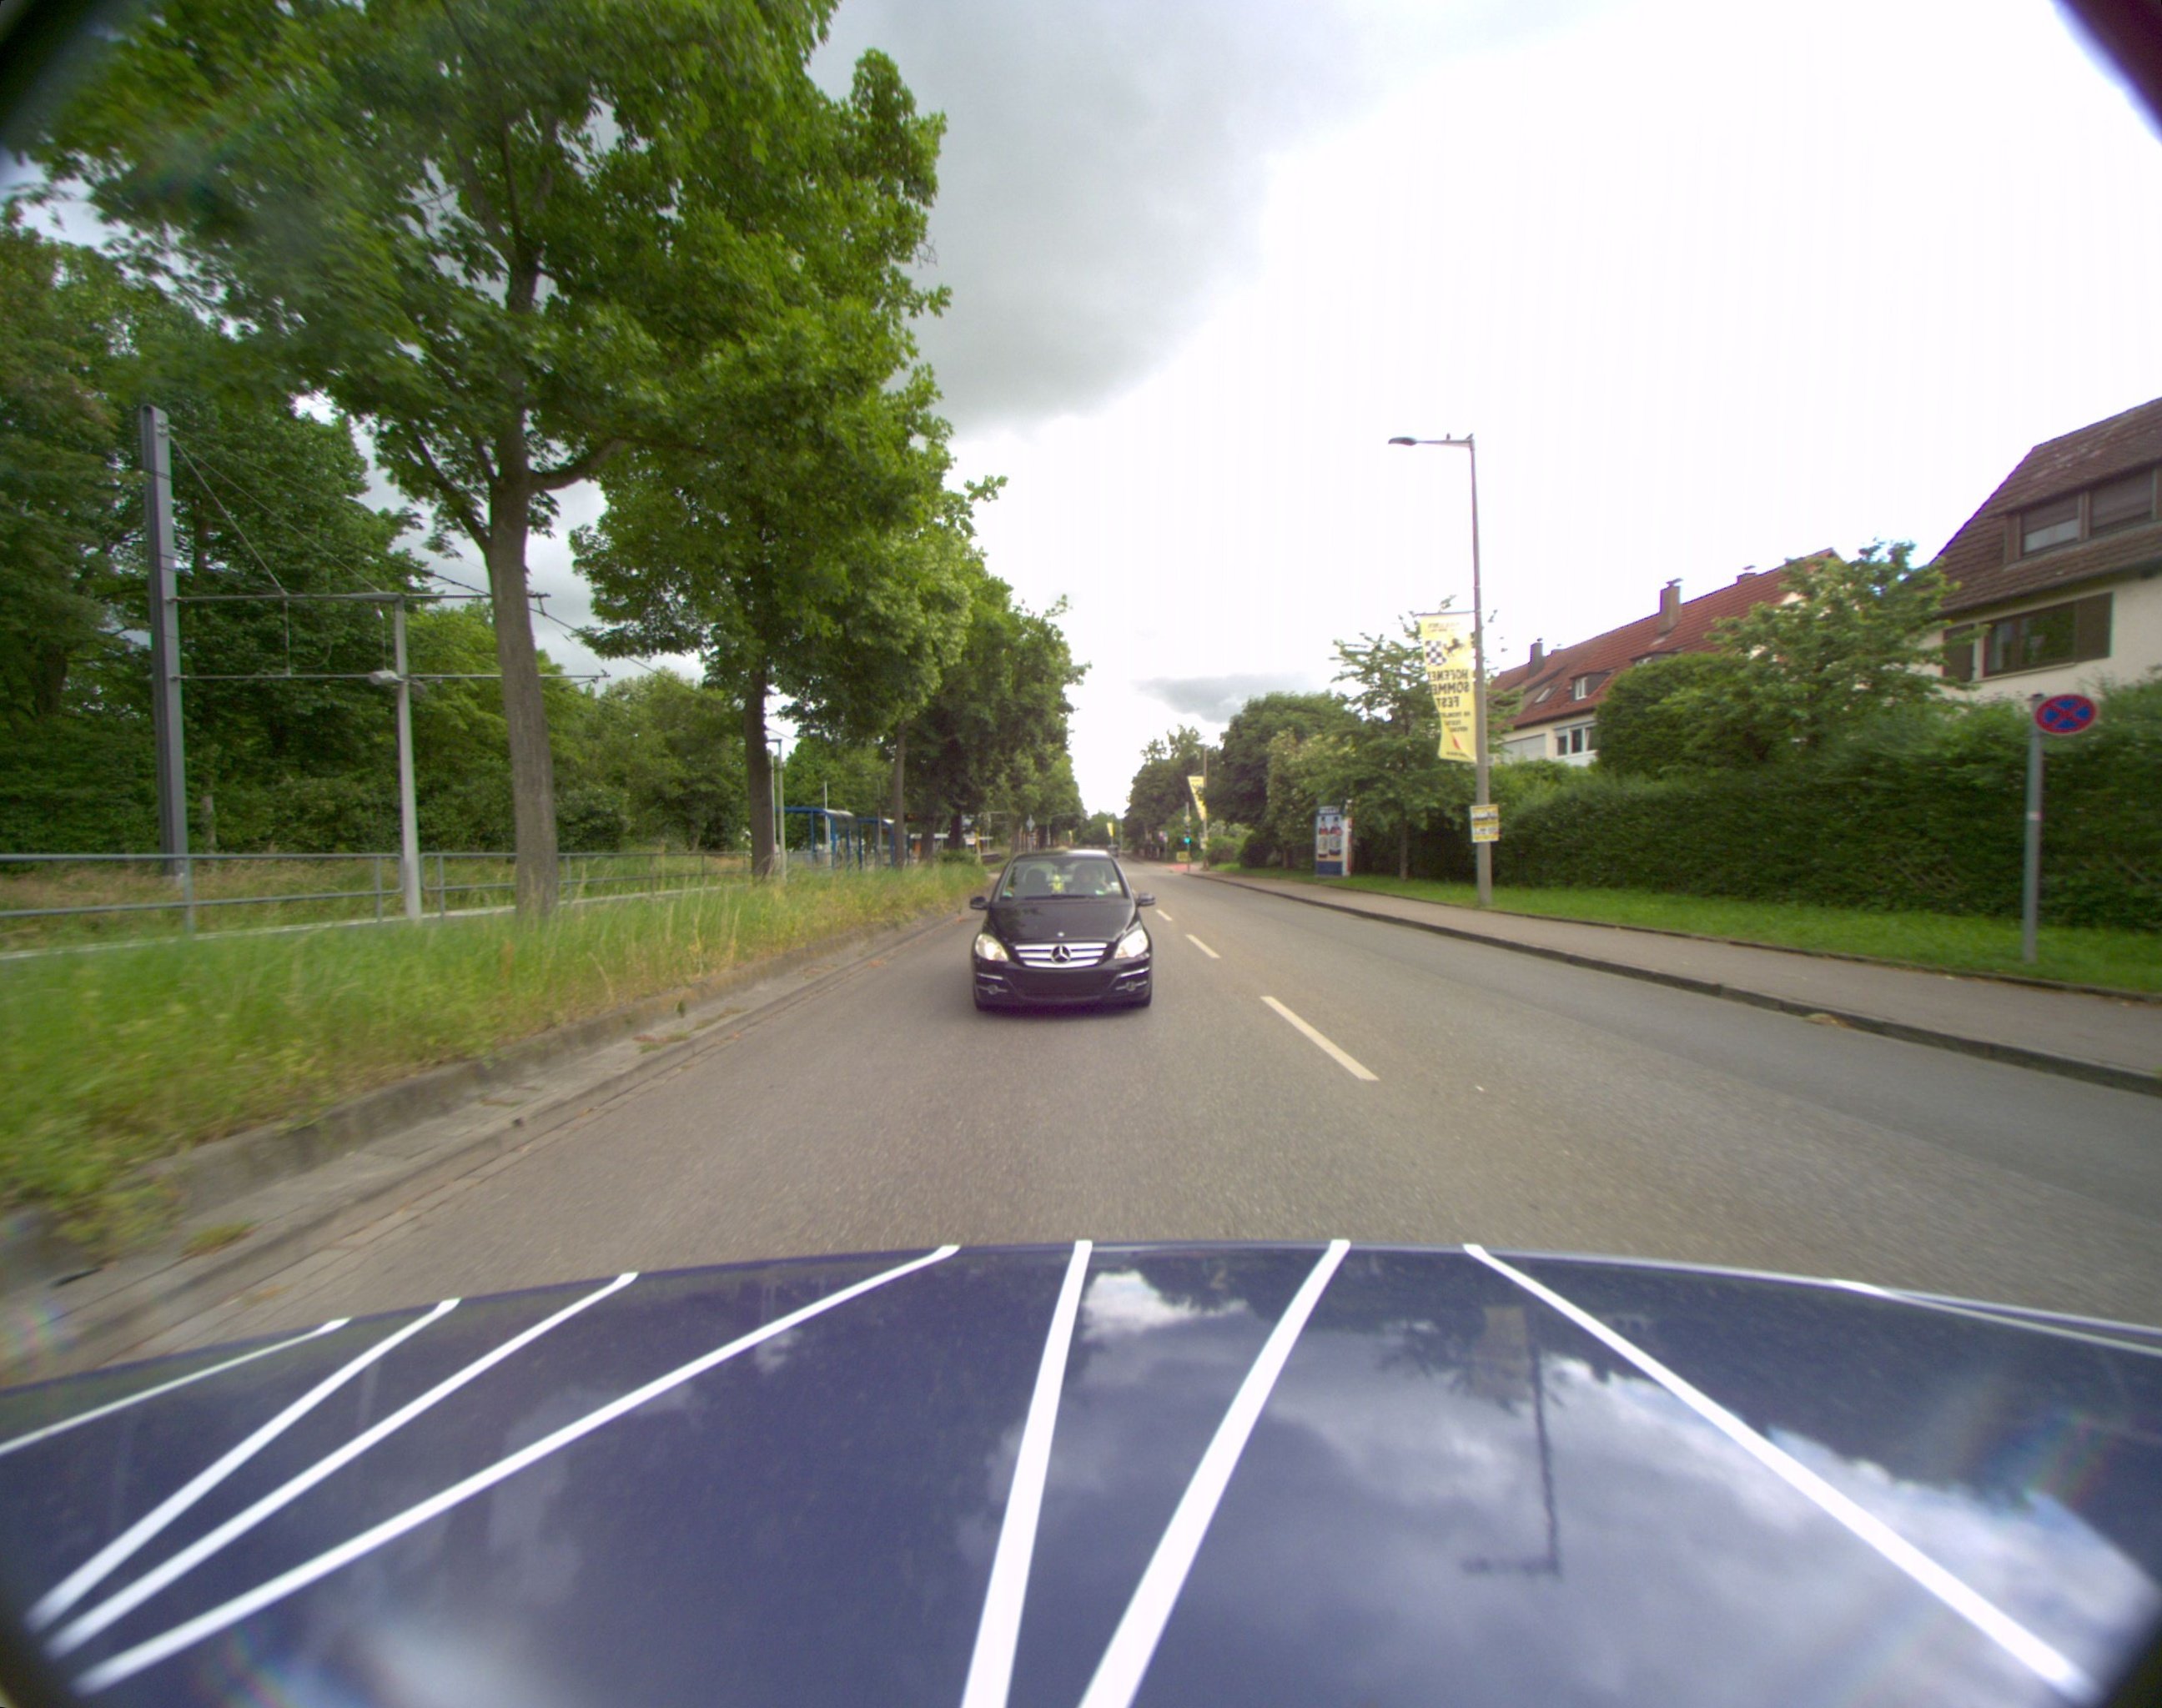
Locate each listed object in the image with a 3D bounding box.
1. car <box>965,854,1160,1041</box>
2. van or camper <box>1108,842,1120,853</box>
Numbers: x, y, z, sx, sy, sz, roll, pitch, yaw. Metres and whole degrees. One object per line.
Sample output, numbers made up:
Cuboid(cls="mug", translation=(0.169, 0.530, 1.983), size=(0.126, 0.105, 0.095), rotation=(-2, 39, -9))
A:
Cuboid(cls="car", translation=(-0.166, 0.834, 9.028), size=(1.683, 1.565, 4.482), rotation=(-2, 1, 0))
Cuboid(cls="van or camper", translation=(5.673, -1.109, 130.096), size=(1.918, 1.888, 4.811), rotation=(-1, 0, 0))
